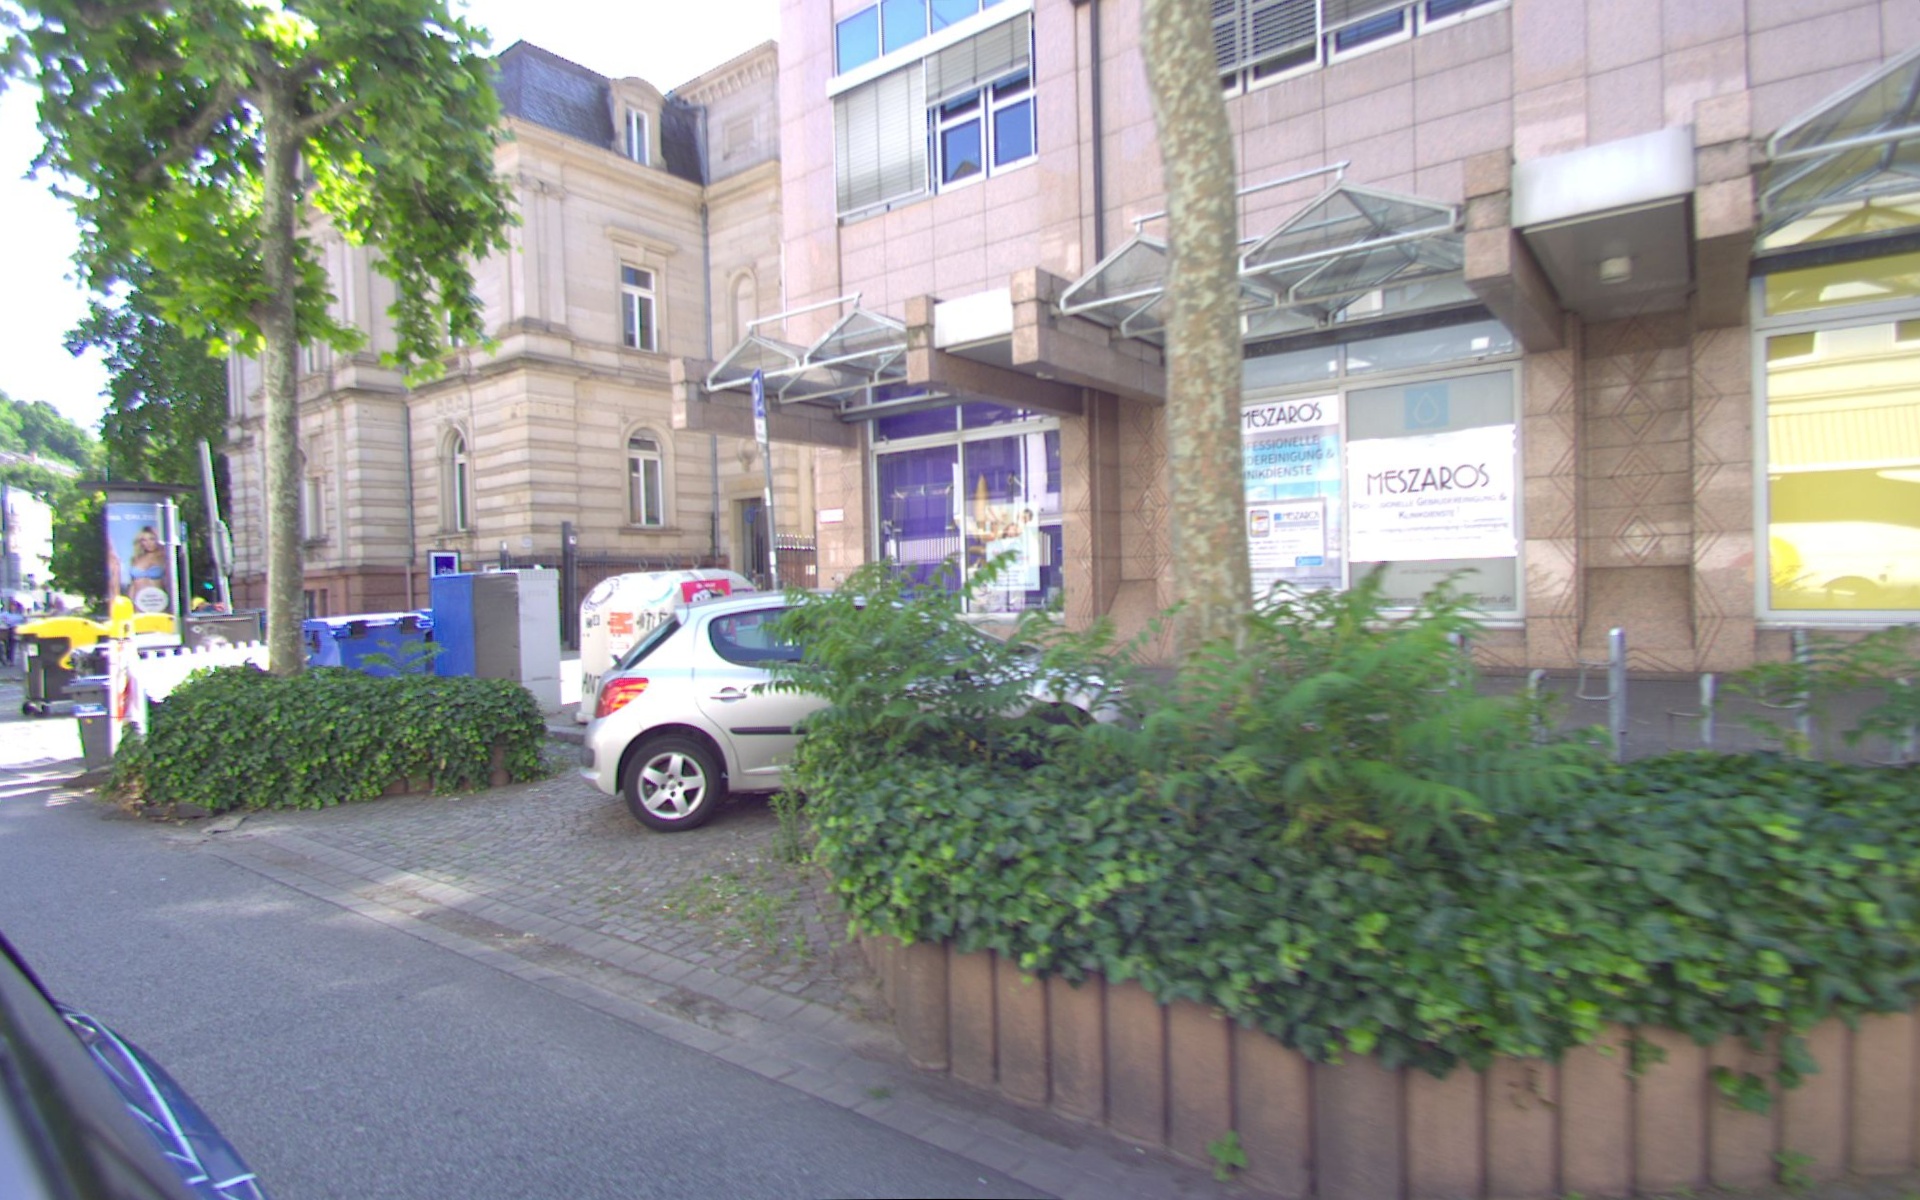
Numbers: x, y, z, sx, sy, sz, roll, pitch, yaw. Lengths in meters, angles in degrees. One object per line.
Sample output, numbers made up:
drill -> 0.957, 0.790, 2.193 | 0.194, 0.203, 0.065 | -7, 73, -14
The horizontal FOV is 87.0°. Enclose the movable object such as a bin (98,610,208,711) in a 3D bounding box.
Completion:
movable object such as a bin -> -12.976, 0.946, 16.274 | 1.439, 1.461, 1.112 | -2, 2, 43

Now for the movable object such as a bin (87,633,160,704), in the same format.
movable object such as a bin -> -14.194, 1.155, 17.171 | 0.654, 1.106, 0.718 | -3, 1, 30

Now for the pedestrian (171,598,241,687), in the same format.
pedestrian -> -15.297, 0.840, 20.537 | 0.745, 1.738, 0.882 | -1, 1, 31

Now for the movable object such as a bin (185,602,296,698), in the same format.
movable object such as a bin -> -12.110, 0.818, 17.036 | 1.364, 1.461, 1.196 | -2, 2, 43

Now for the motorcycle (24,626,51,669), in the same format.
motorcycle -> -24.136, 1.217, 26.474 | 0.448, 1.005, 2.163 | -4, 3, -43

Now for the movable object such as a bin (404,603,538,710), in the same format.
movable object such as a bin -> -6.691, 0.749, 13.866 | 1.125, 1.309, 1.198 | -3, 2, 37

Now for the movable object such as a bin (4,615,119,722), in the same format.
movable object such as a bin -> -13.727, 1.020, 15.450 | 1.439, 1.461, 1.112 | -2, 2, 43

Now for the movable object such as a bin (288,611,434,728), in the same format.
movable object such as a bin -> -7.552, 0.850, 12.786 | 1.078, 1.309, 1.198 | -3, 2, 37

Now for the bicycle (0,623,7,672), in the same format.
bicycle -> -24.730, 1.204, 25.860 | 0.424, 1.128, 2.246 | -4, 4, -42

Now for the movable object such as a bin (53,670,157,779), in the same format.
movable object such as a bin -> -7.949, 1.142, 9.420 | 0.495, 0.946, 0.553 | -2, -1, 11

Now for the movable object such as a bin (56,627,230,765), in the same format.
movable object such as a bin -> -8.765, 0.979, 10.885 | 0.852, 1.309, 1.265 | -1, 1, 37

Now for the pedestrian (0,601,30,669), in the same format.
pedestrian -> -24.844, 0.905, 26.451 | 0.690, 1.707, 0.687 | 1, 2, 40

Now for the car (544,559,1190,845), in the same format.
car -> -0.656, 0.583, 7.309 | 3.991, 1.505, 1.940 | -3, 1, -11

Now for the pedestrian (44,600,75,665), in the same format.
pedestrian -> -23.864, 0.850, 26.809 | 0.542, 1.677, 0.937 | -2, 2, -44
